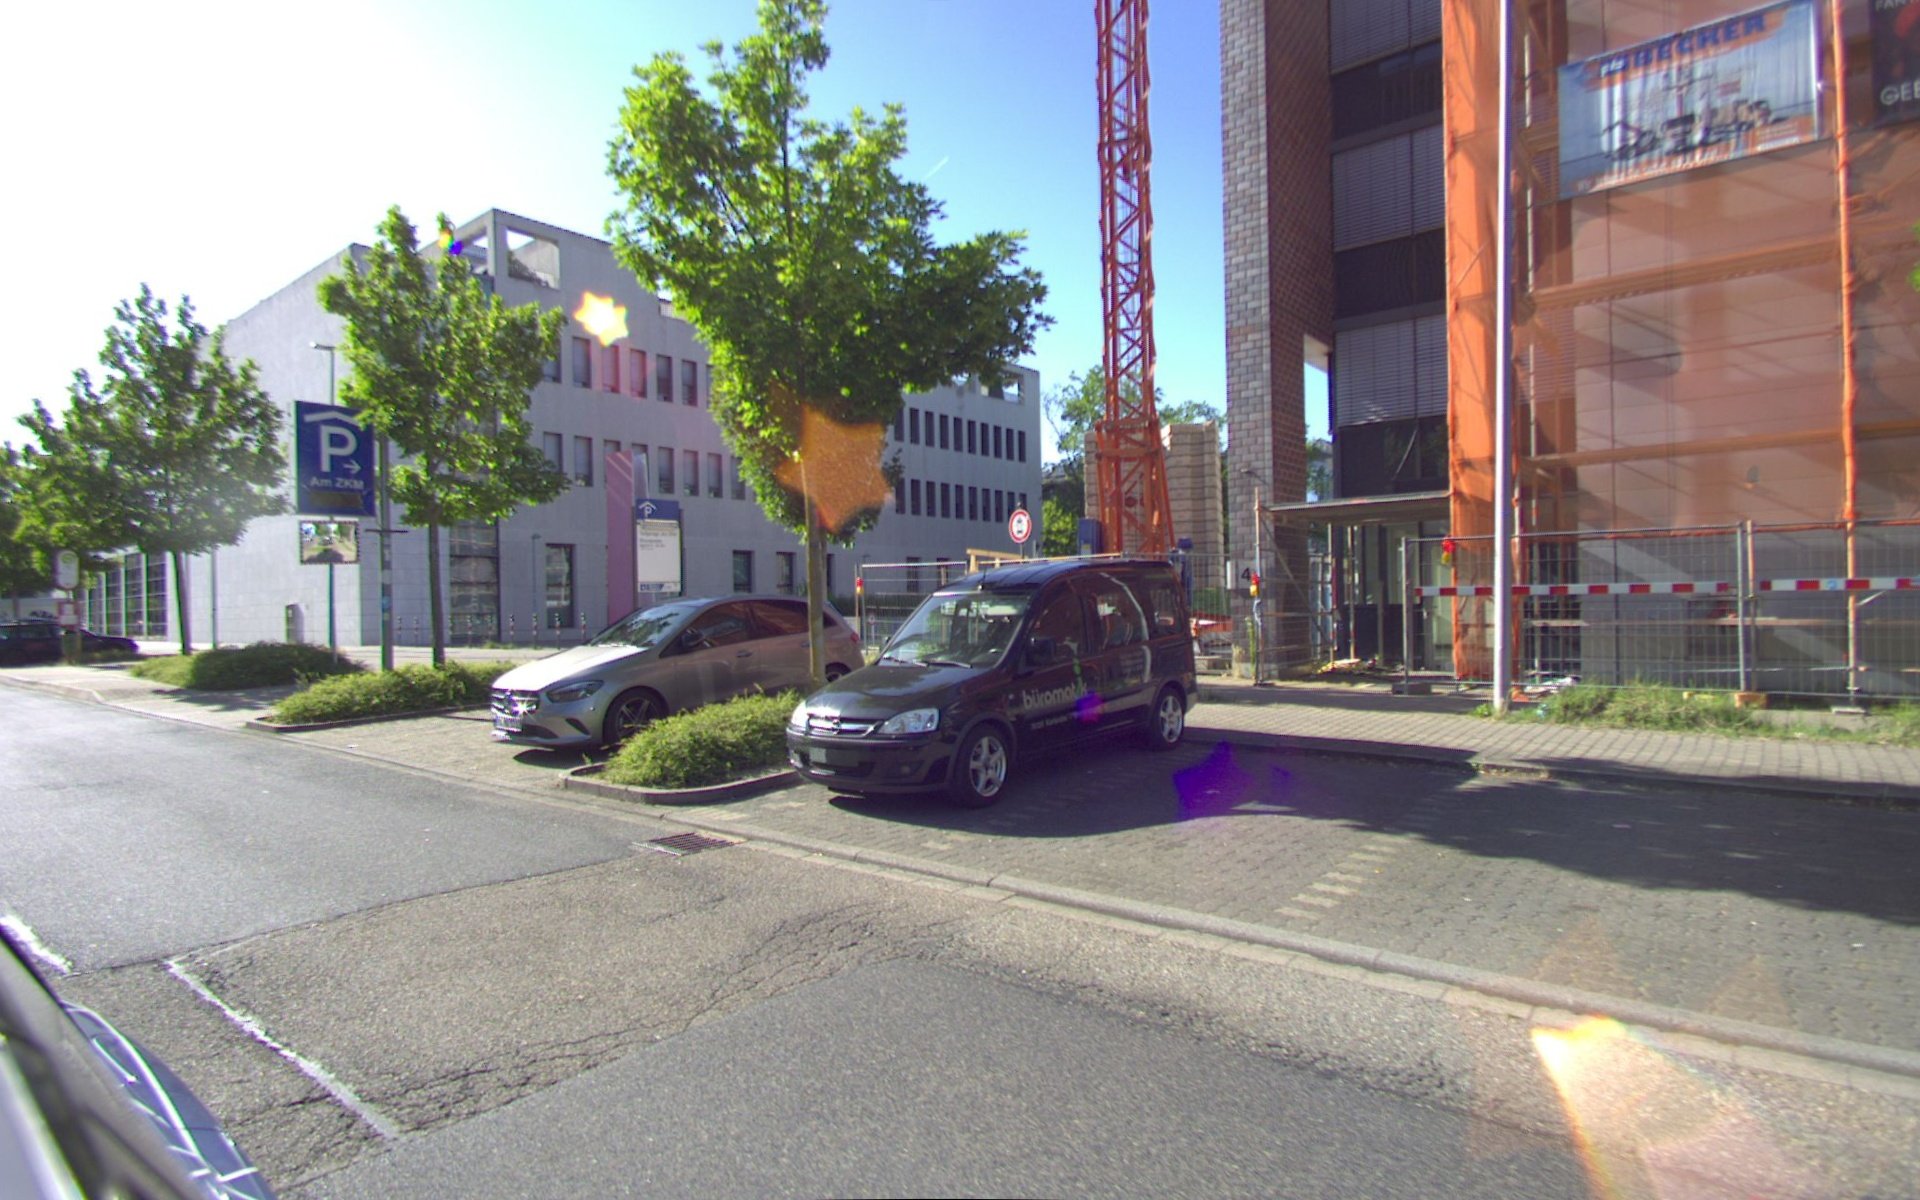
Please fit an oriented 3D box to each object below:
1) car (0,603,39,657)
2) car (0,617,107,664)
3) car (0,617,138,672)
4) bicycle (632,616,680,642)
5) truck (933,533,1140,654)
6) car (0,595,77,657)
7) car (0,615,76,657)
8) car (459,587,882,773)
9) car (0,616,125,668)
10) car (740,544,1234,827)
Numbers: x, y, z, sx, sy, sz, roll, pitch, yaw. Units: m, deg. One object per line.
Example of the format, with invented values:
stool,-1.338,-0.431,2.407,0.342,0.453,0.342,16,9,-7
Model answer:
car,-49.955,1.617,50.595,2.009,2.657,5.512,-1,2,41
car,-35.089,1.533,38.119,1.691,1.525,4.263,-1,2,39
car,-30.054,1.465,33.398,1.716,1.525,4.263,-1,2,39
bicycle,-14.531,1.382,48.408,0.716,1.219,2.236,-1,-1,34
truck,2.105,-0.108,25.858,2.268,2.751,5.781,-2,-1,41
car,-41.145,1.181,42.745,2.009,2.501,5.512,-1,2,41
car,-38.521,1.495,40.658,1.691,1.525,4.263,-1,2,39
car,-3.026,0.718,11.411,1.692,1.525,4.341,-1,2,40
car,-33.246,1.505,36.704,1.691,1.595,4.263,-1,2,39
car,0.491,0.462,8.608,1.846,1.758,4.341,-1,2,40
